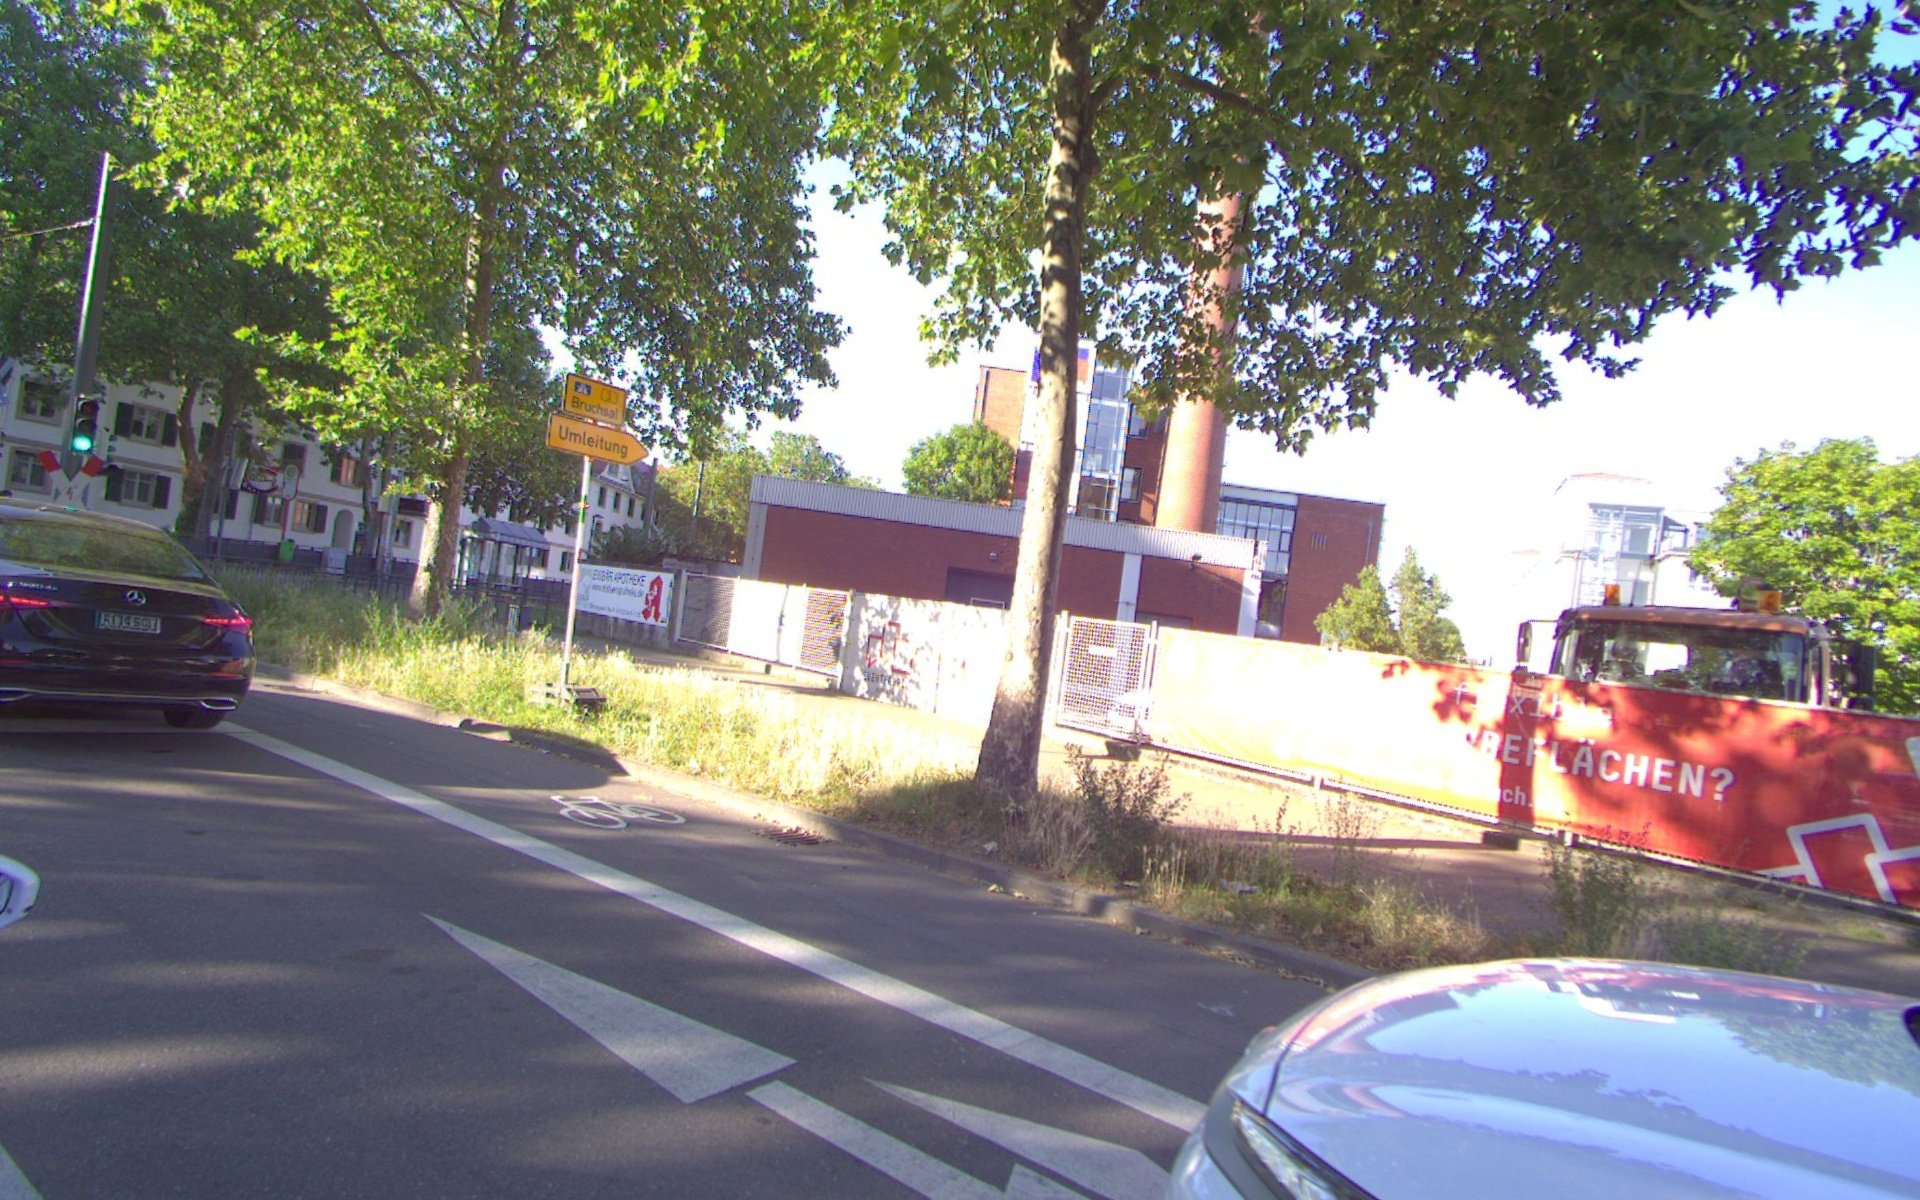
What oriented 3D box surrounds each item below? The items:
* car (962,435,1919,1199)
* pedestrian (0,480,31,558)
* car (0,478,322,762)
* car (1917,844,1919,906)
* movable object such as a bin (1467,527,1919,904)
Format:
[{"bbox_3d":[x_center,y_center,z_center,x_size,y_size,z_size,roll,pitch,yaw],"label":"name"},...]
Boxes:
[{"bbox_3d":[2.119,0.971,0.841,3.901,1.616,1.893,9,-1,34],"label":"car"},{"bbox_3d":[-25.104,-2.130,26.361,0.825,1.940,0.707,6,-2,28],"label":"pedestrian"},{"bbox_3d":[-6.752,-0.057,7.240,4.309,1.508,1.893,9,-1,33],"label":"car"},{"bbox_3d":[10.565,2.038,9.535,2.016,1.849,4.584,6,-3,44],"label":"car"},{"bbox_3d":[8.640,1.261,11.801,3.173,3.083,6.267,6,-3,41],"label":"movable object such as a bin"}]
